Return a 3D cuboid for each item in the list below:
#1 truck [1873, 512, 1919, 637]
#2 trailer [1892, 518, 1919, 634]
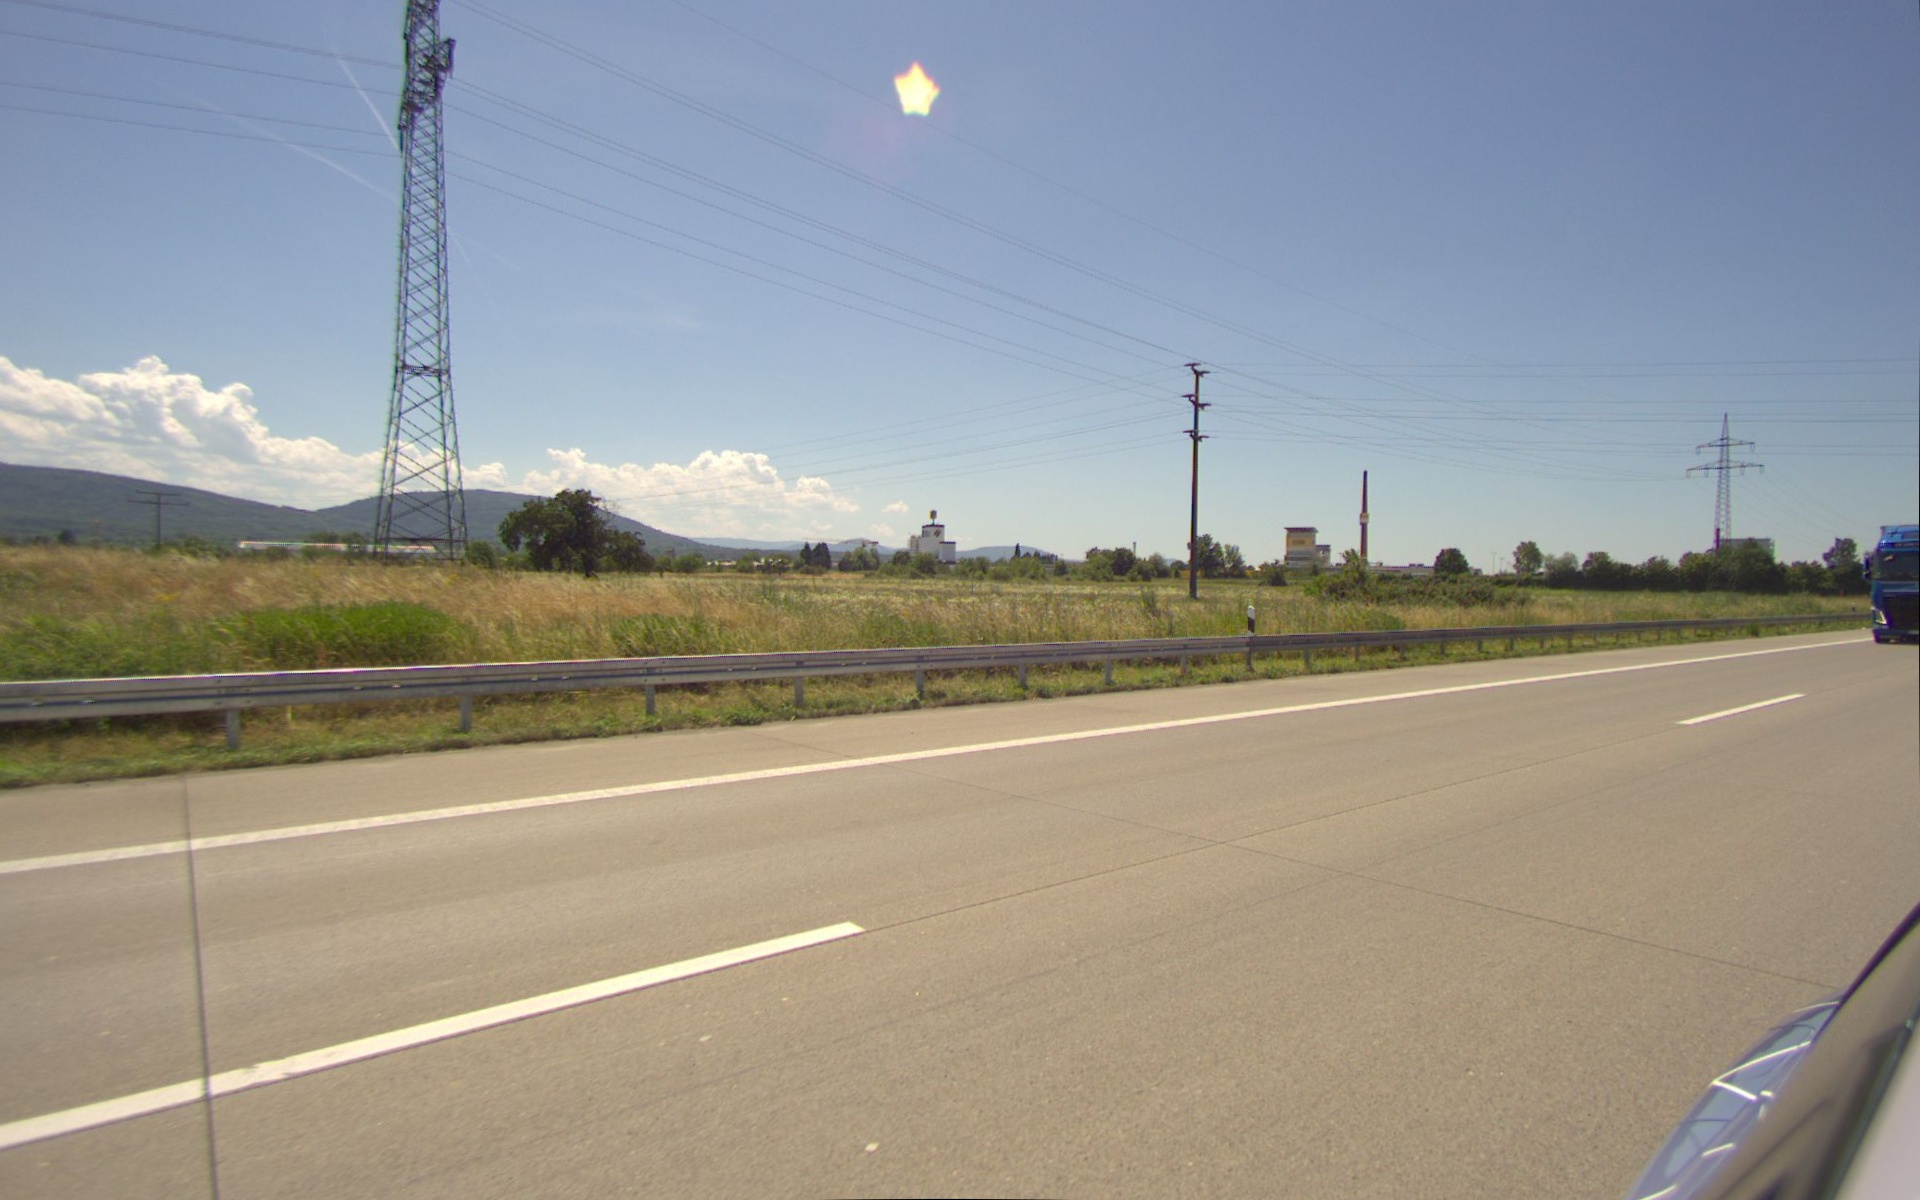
[{"bbox_3d":[33.774,-0.861,34.736,5.367,4.095,2.756,0,-1,-39],"label":"truck"},{"bbox_3d":[39.198,-0.895,39.179,12.669,4.095,2.715,0,0,-39],"label":"trailer"}]
